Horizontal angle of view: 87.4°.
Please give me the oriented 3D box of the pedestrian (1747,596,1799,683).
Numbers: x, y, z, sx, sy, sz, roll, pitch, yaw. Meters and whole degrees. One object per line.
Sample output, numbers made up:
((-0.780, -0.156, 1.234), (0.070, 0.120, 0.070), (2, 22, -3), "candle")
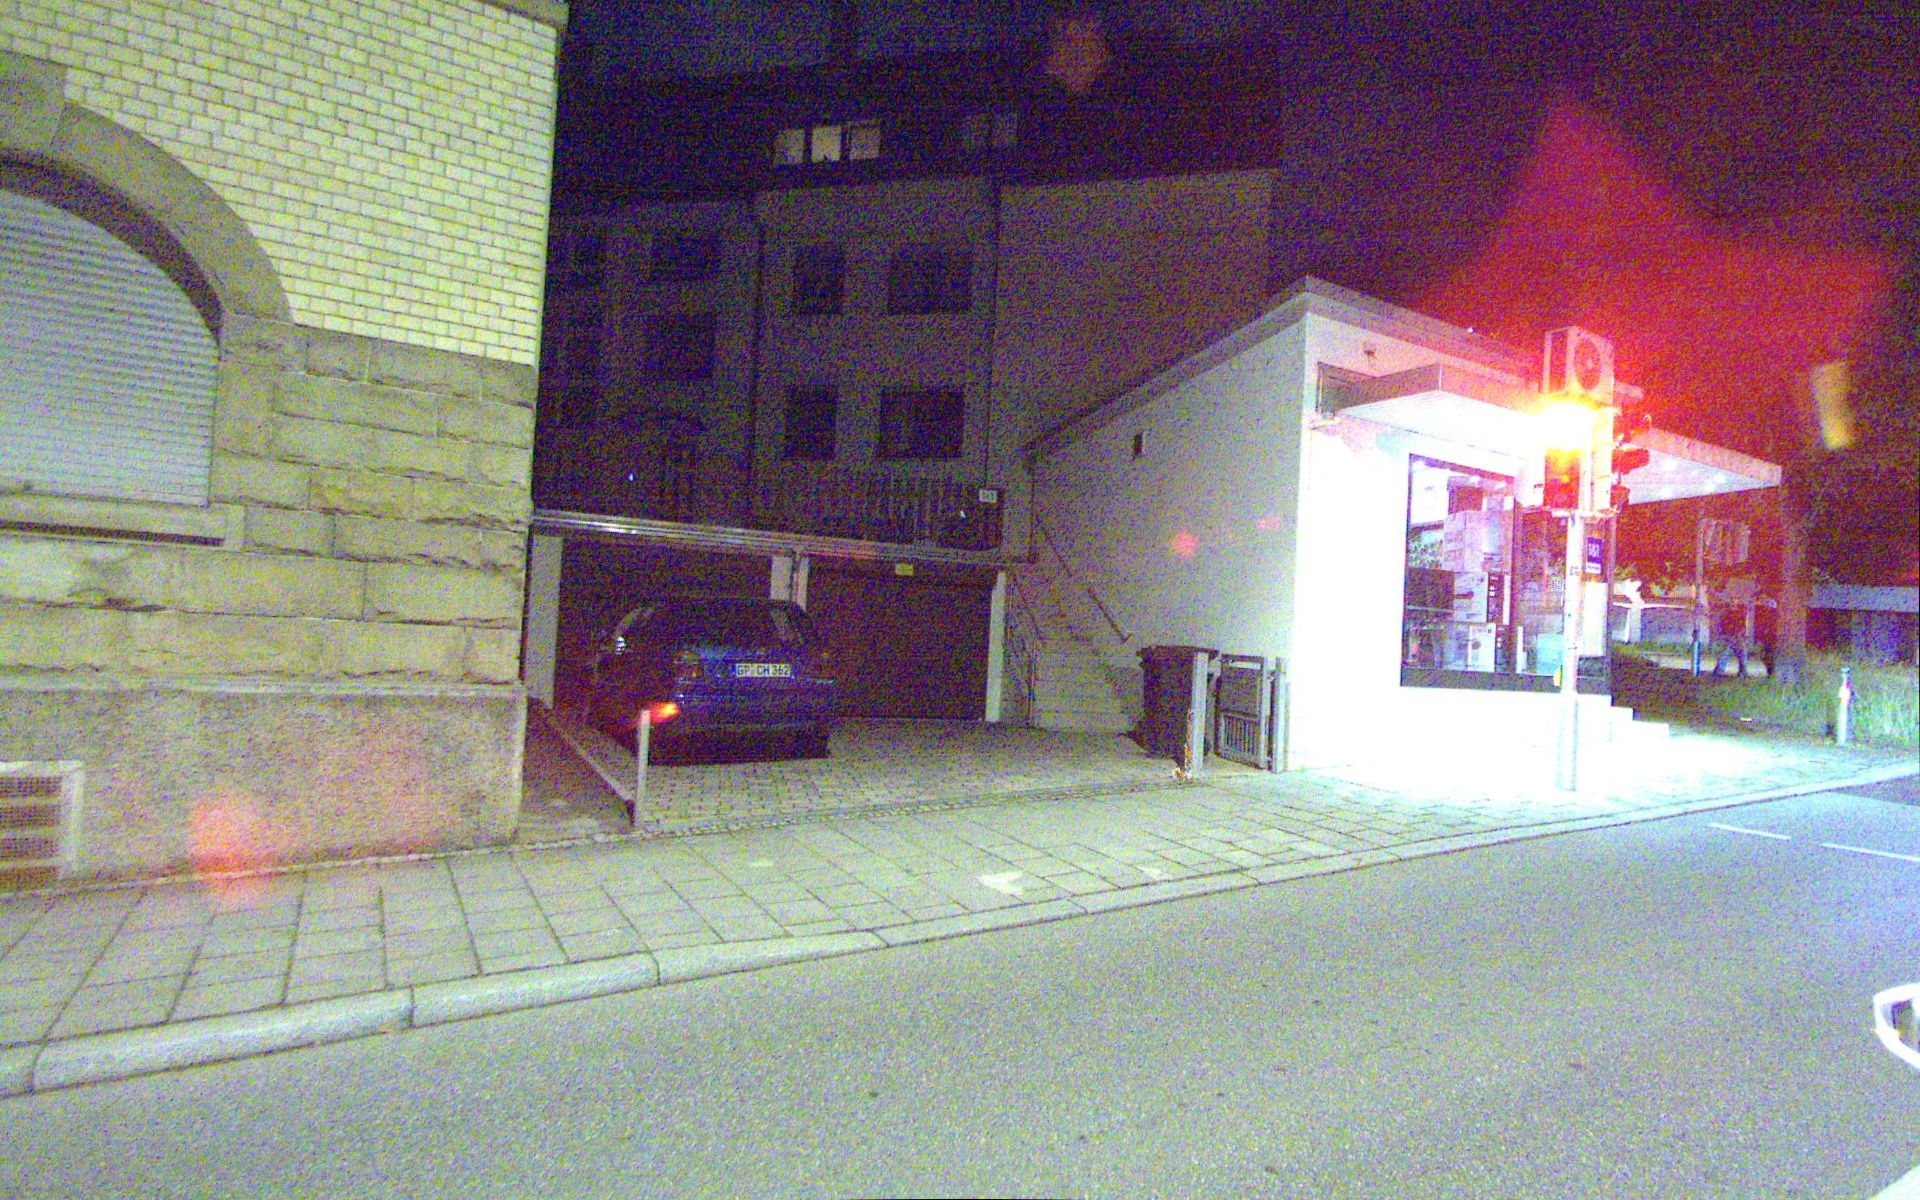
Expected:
((17.451, 0.845, 21.553), (0.729, 1.801, 0.567), (2, 2, -30), "pedestrian")

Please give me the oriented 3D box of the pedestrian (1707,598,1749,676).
((17.599, 0.838, 23.029), (0.537, 1.754, 0.567), (2, 0, -30), "pedestrian")

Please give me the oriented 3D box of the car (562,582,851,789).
((-2.569, 0.639, 9.536), (1.700, 1.460, 3.631), (2, 1, -30), "car")
